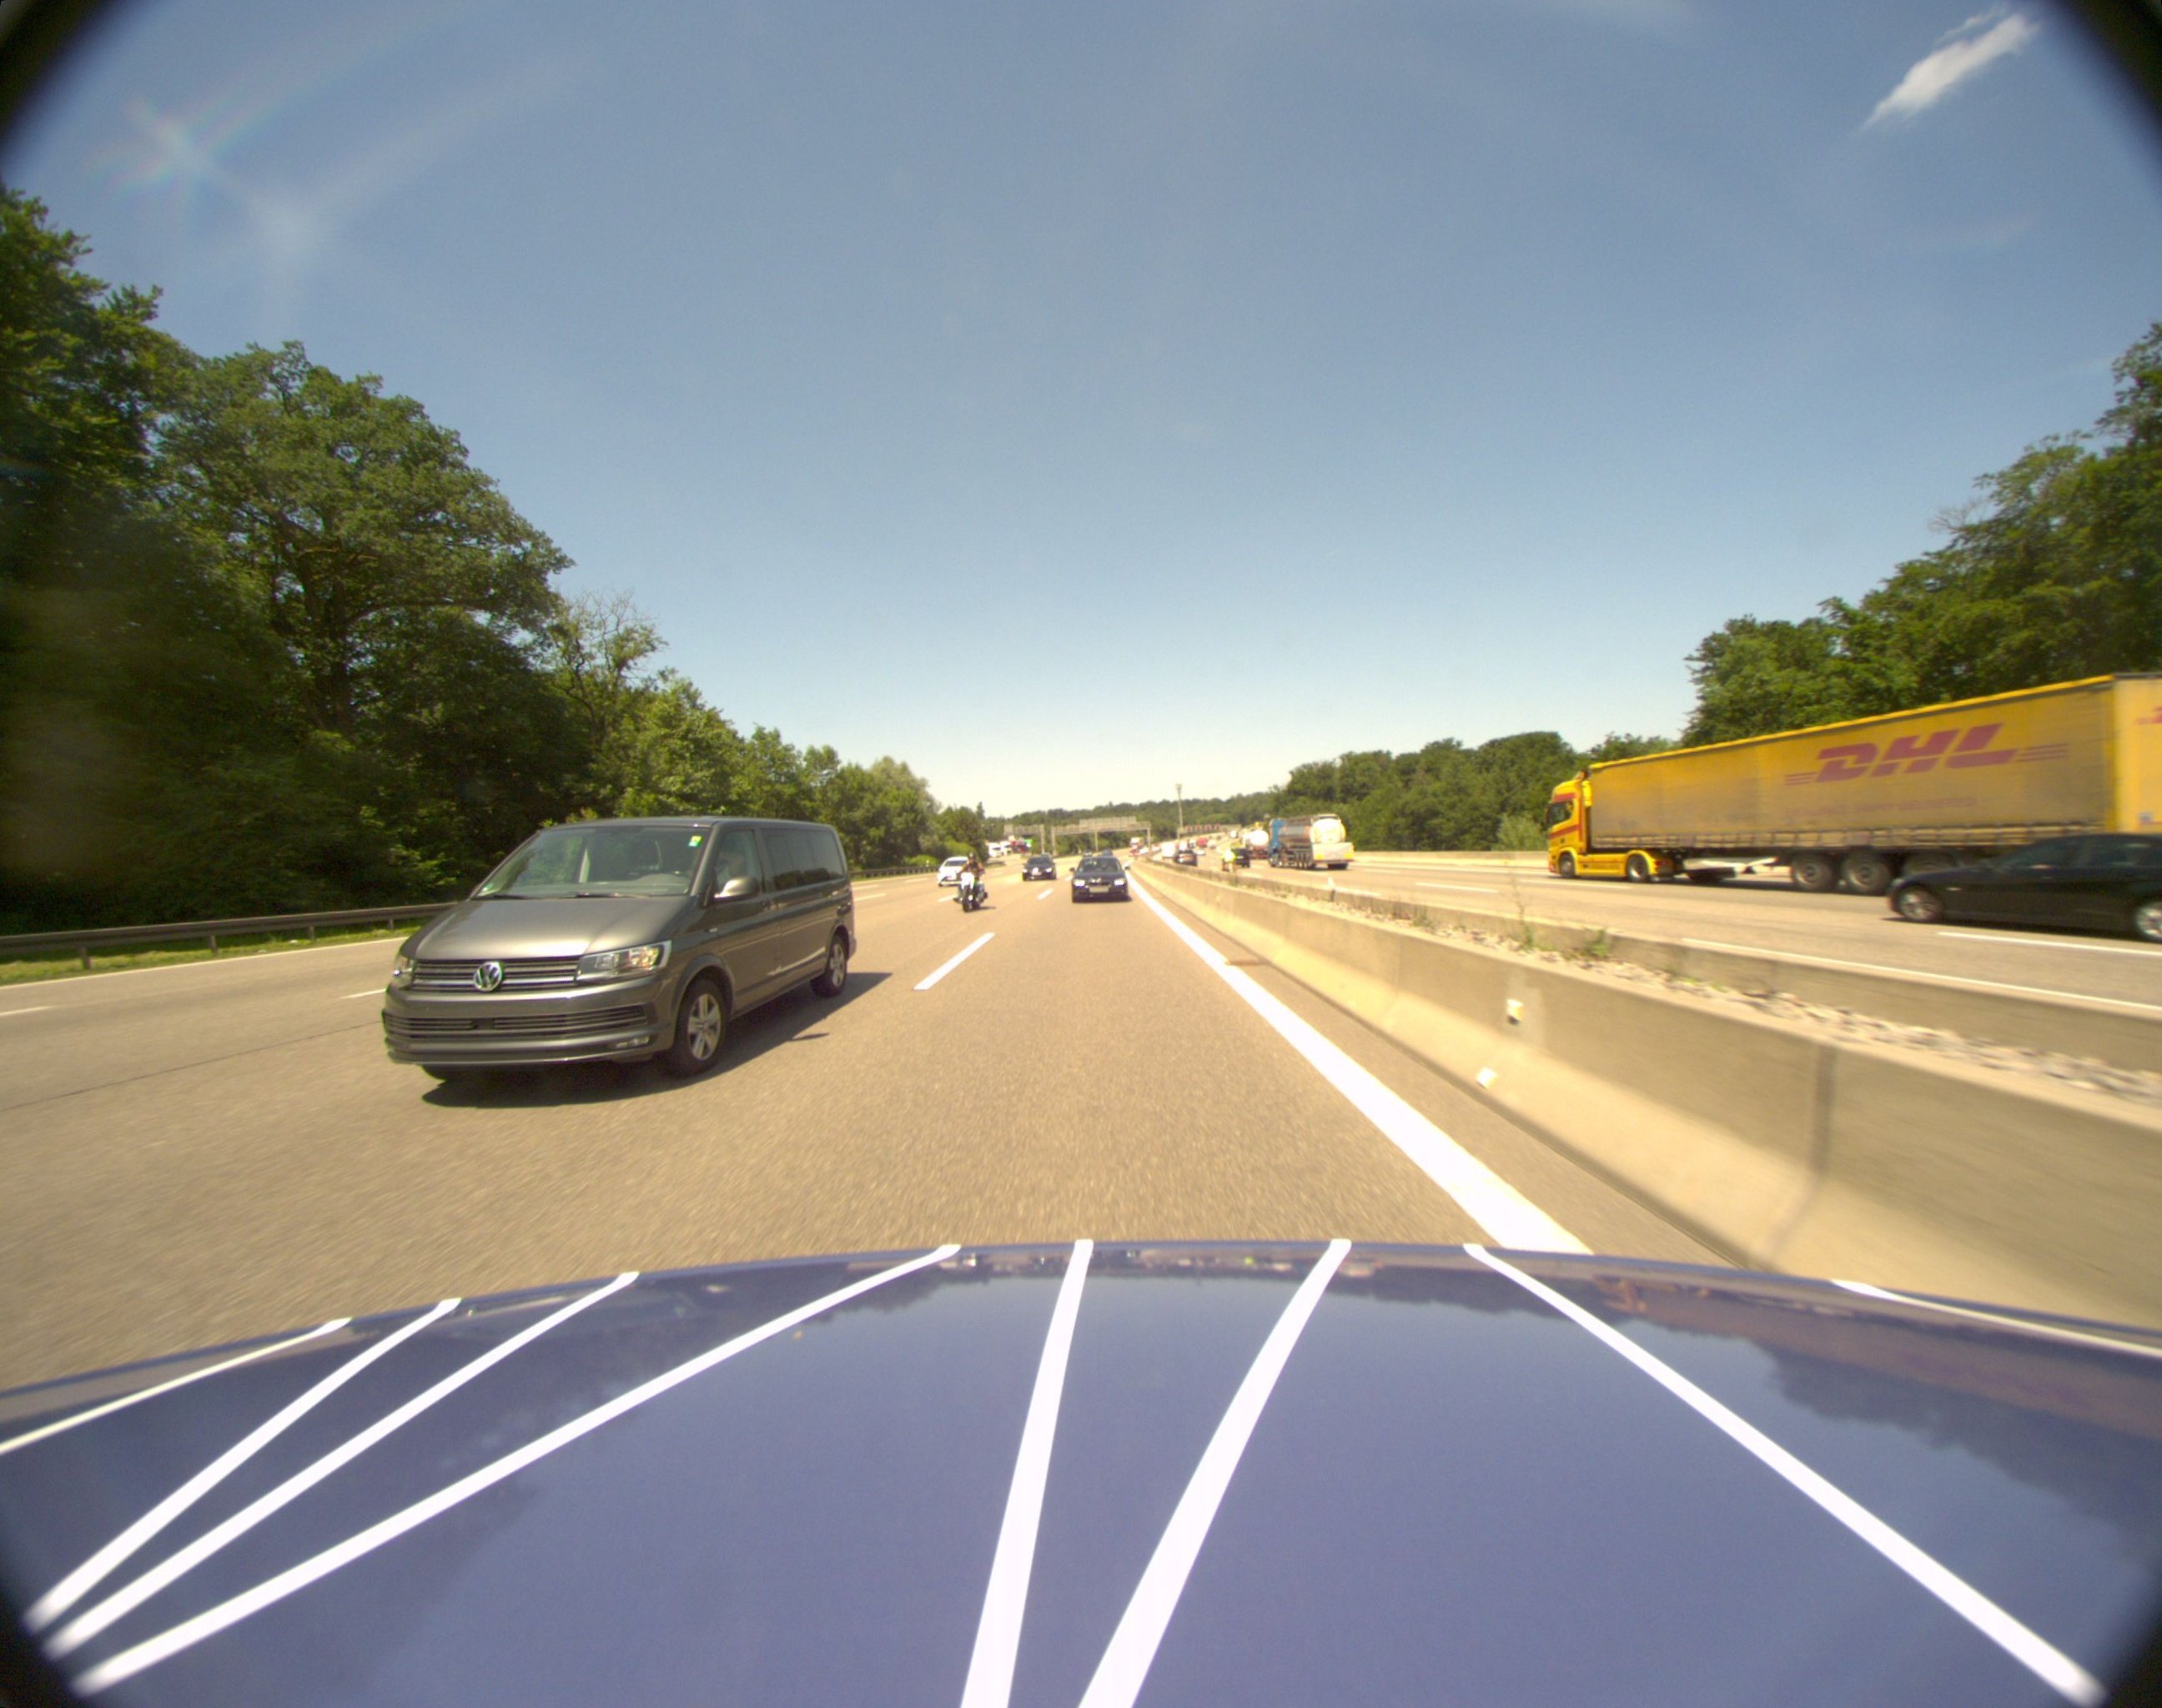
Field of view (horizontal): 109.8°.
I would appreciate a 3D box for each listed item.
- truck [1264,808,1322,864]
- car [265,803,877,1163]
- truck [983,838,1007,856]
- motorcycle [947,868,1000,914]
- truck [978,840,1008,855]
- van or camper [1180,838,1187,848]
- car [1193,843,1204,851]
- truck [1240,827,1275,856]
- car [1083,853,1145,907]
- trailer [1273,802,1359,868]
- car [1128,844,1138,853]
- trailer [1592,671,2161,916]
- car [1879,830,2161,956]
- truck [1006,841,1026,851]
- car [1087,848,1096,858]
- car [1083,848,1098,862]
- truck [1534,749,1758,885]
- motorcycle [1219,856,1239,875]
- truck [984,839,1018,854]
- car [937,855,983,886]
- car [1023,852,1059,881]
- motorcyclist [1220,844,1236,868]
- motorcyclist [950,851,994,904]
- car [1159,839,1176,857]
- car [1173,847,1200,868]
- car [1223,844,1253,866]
[{"bbox_3d":[15.771,-1.294,56.992,2.537,3.917,6.801,-2,1,2],"label":"truck"},{"bbox_3d":[-3.615,0.733,6.910,1.967,2.022,5.083,-2,0,1],"label":"car"},{"bbox_3d":[-24.468,-2.022,215.616,3.271,4.698,7.169,-5,3,-38],"label":"truck"},{"bbox_3d":[-3.020,1.017,21.670,0.536,1.129,2.439,-1,1,16],"label":"motorcycle"},{"bbox_3d":[-26.698,-1.965,230.188,2.836,4.436,12.028,-5,3,-39],"label":"truck"},{"bbox_3d":[29.231,-3.192,216.792,1.997,2.783,7.417,-2,0,6],"label":"van or camper"},{"bbox_3d":[23.921,-1.377,154.816,1.767,1.474,4.495,-3,1,4],"label":"car"},{"bbox_3d":[22.940,-1.655,99.354,2.616,3.446,9.882,-3,1,3],"label":"truck"},{"bbox_3d":[1.099,0.771,24.649,1.769,1.496,4.001,-3,0,3],"label":"car"},{"bbox_3d":[15.594,-1.194,51.481,2.544,3.858,11.696,-2,0,2],"label":"trailer"},{"bbox_3d":[11.426,-1.220,166.459,1.998,2.002,4.001,-3,1,4],"label":"car"},{"bbox_3d":[18.797,-1.064,19.244,2.729,3.981,13.725,-2,0,2],"label":"trailer"},{"bbox_3d":[13.919,0.437,10.064,1.998,1.474,4.580,-2,0,2],"label":"car"},{"bbox_3d":[-21.336,-2.505,247.704,2.003,2.933,8.724,-5,3,-38],"label":"truck"},{"bbox_3d":[2.406,-0.230,174.408,1.998,2.002,3.999,-3,2,3],"label":"car"},{"bbox_3d":[1.286,0.137,102.274,1.729,1.522,3.740,5,3,2],"label":"car"},{"bbox_3d":[18.971,-1.131,26.181,2.757,3.994,6.752,-2,1,2],"label":"truck"},{"bbox_3d":[8.529,0.629,43.887,0.729,1.008,2.527,-2,0,2],"label":"motorcycle"},{"bbox_3d":[-25.086,-2.211,237.133,2.836,4.434,14.603,-3,1,-38],"label":"truck"},{"bbox_3d":[-6.477,0.840,41.105,1.754,1.510,4.483,-2,0,0],"label":"car"},{"bbox_3d":[-2.350,0.715,45.576,1.760,1.431,3.999,-2,2,2],"label":"car"},{"bbox_3d":[8.501,0.118,43.857,0.729,1.353,0.905,-2,1,2],"label":"motorcyclist"},{"bbox_3d":[-3.071,0.655,21.563,0.854,1.419,1.024,-1,2,16],"label":"motorcyclist"},{"bbox_3d":[13.863,-0.965,121.802,2.102,2.673,6.309,-3,0,2],"label":"car"},{"bbox_3d":[9.158,0.241,66.352,1.998,1.695,4.954,-2,0,4],"label":"car"},{"bbox_3d":[12.567,0.085,60.893,1.724,1.634,4.060,-2,0,3],"label":"car"}]
